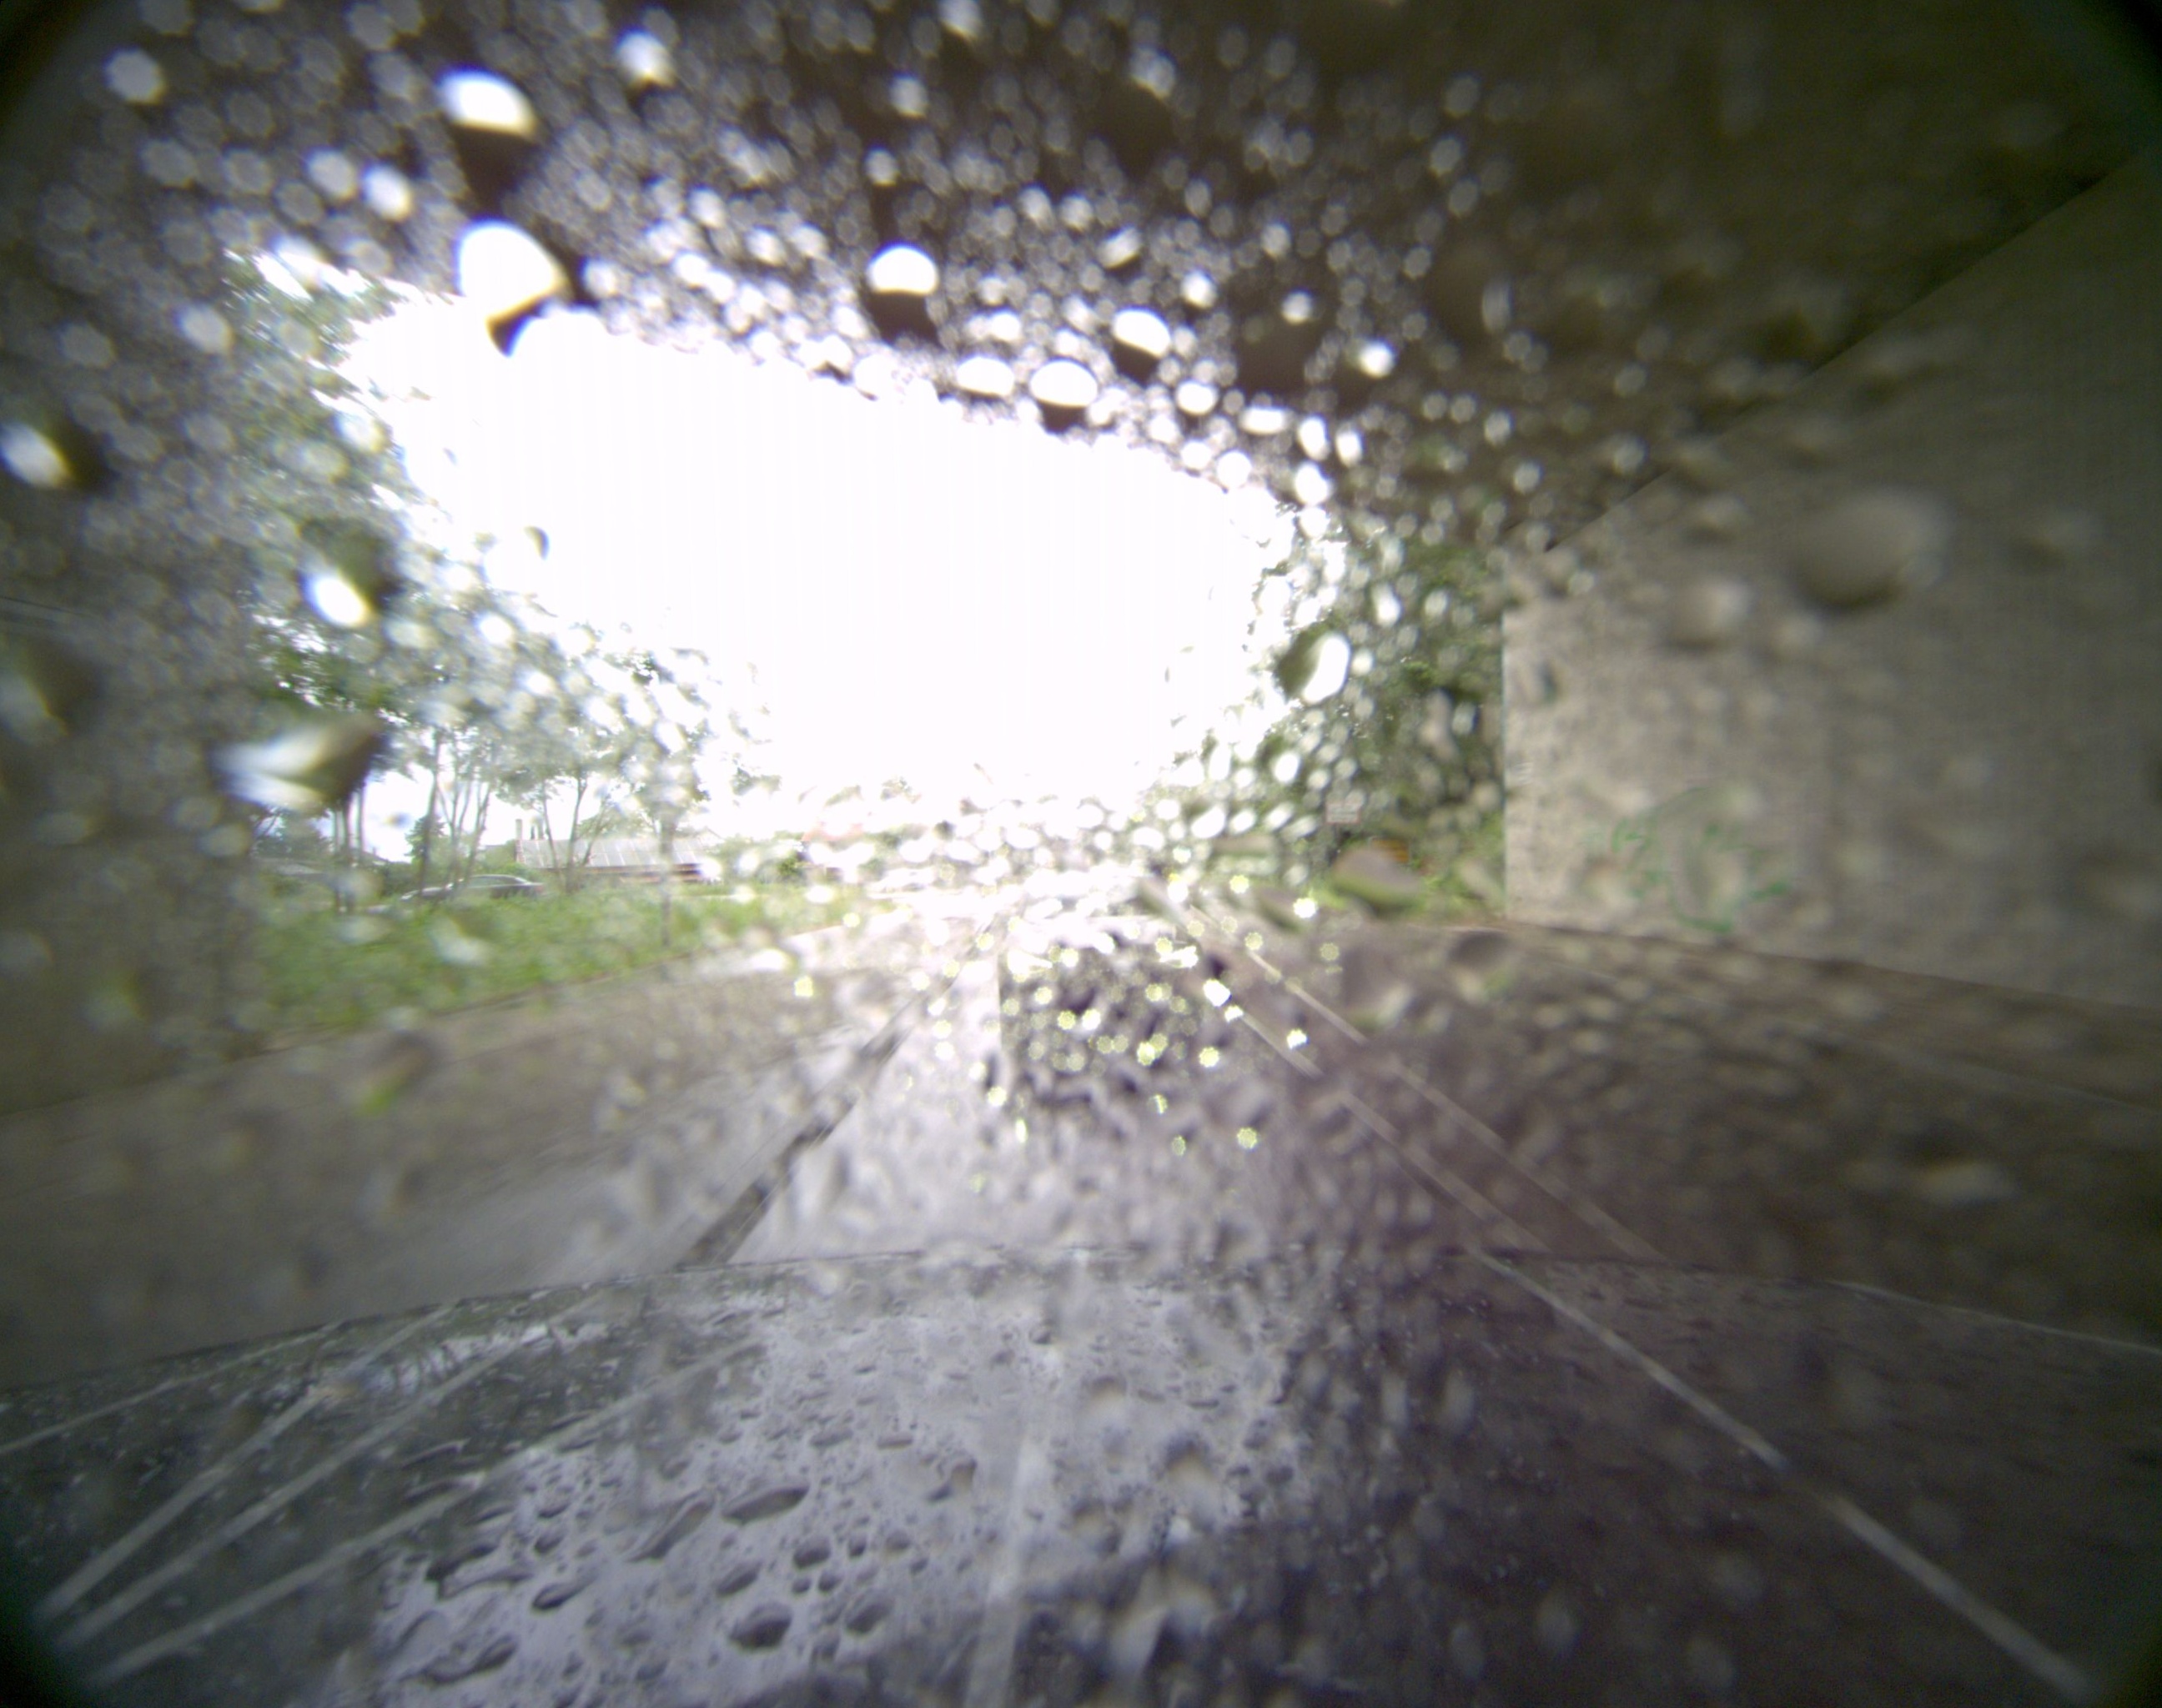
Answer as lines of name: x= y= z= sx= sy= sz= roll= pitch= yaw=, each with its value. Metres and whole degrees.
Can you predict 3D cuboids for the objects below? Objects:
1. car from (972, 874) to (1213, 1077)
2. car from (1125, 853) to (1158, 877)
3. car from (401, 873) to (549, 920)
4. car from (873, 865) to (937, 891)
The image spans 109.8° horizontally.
car: x=0.096 y=0.990 z=8.065 sx=1.767 sy=1.316 sz=4.549 roll=-3 pitch=0 yaw=0
car: x=4.056 y=0.707 z=51.445 sx=1.695 sy=1.478 sz=4.072 roll=-2 pitch=0 yaw=-2
car: x=-22.506 y=1.541 z=28.453 sx=4.118 sy=1.351 sz=1.900 roll=-3 pitch=0 yaw=-35
car: x=-12.149 y=1.621 z=52.377 sx=3.862 sy=1.523 sz=1.715 roll=-3 pitch=1 yaw=-32
